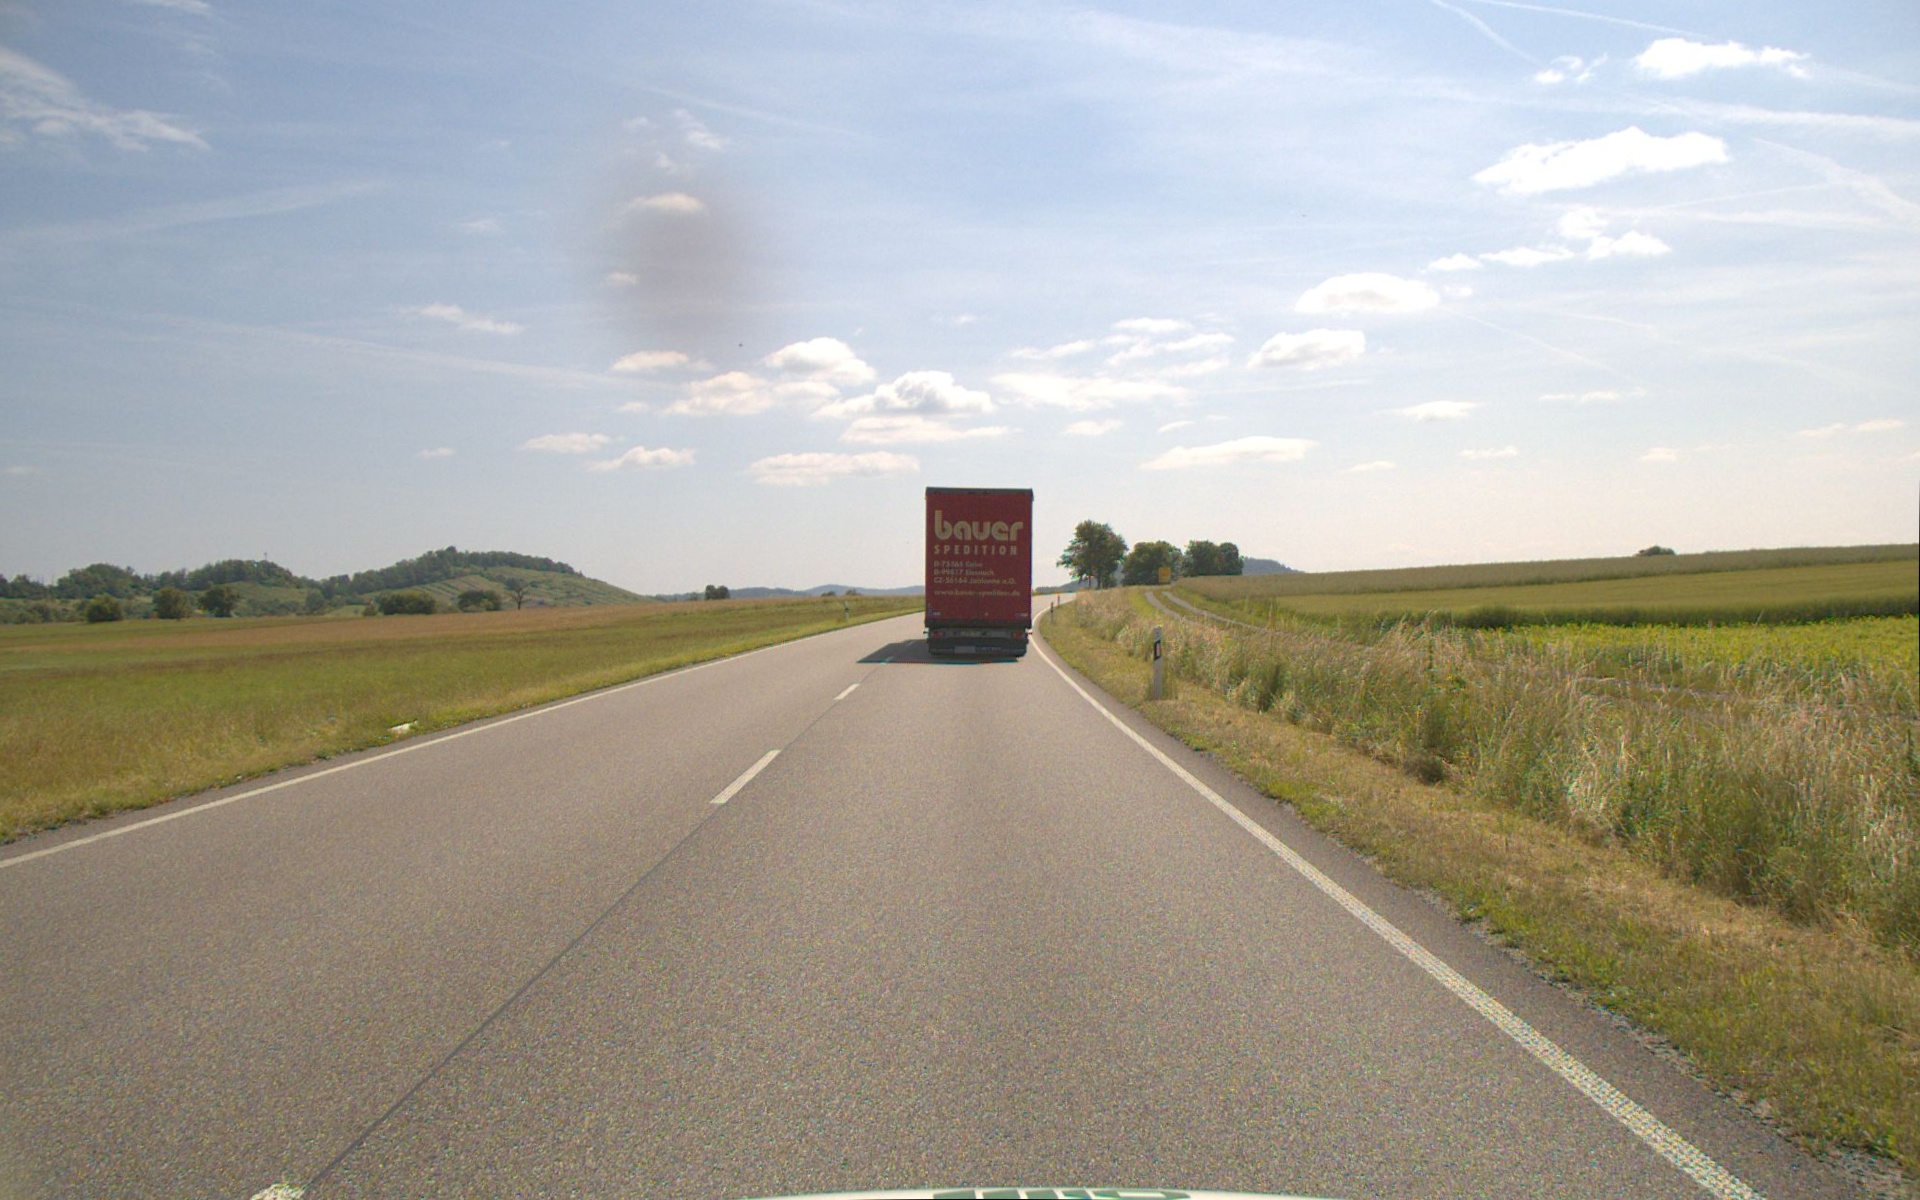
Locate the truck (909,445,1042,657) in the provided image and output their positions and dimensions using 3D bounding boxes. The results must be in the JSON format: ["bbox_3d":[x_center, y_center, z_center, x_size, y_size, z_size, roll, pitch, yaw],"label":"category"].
[{"bbox_3d":[0.392,-1.147,42.716,2.914,4.795,9.366,2,0,0],"label":"truck"}]
